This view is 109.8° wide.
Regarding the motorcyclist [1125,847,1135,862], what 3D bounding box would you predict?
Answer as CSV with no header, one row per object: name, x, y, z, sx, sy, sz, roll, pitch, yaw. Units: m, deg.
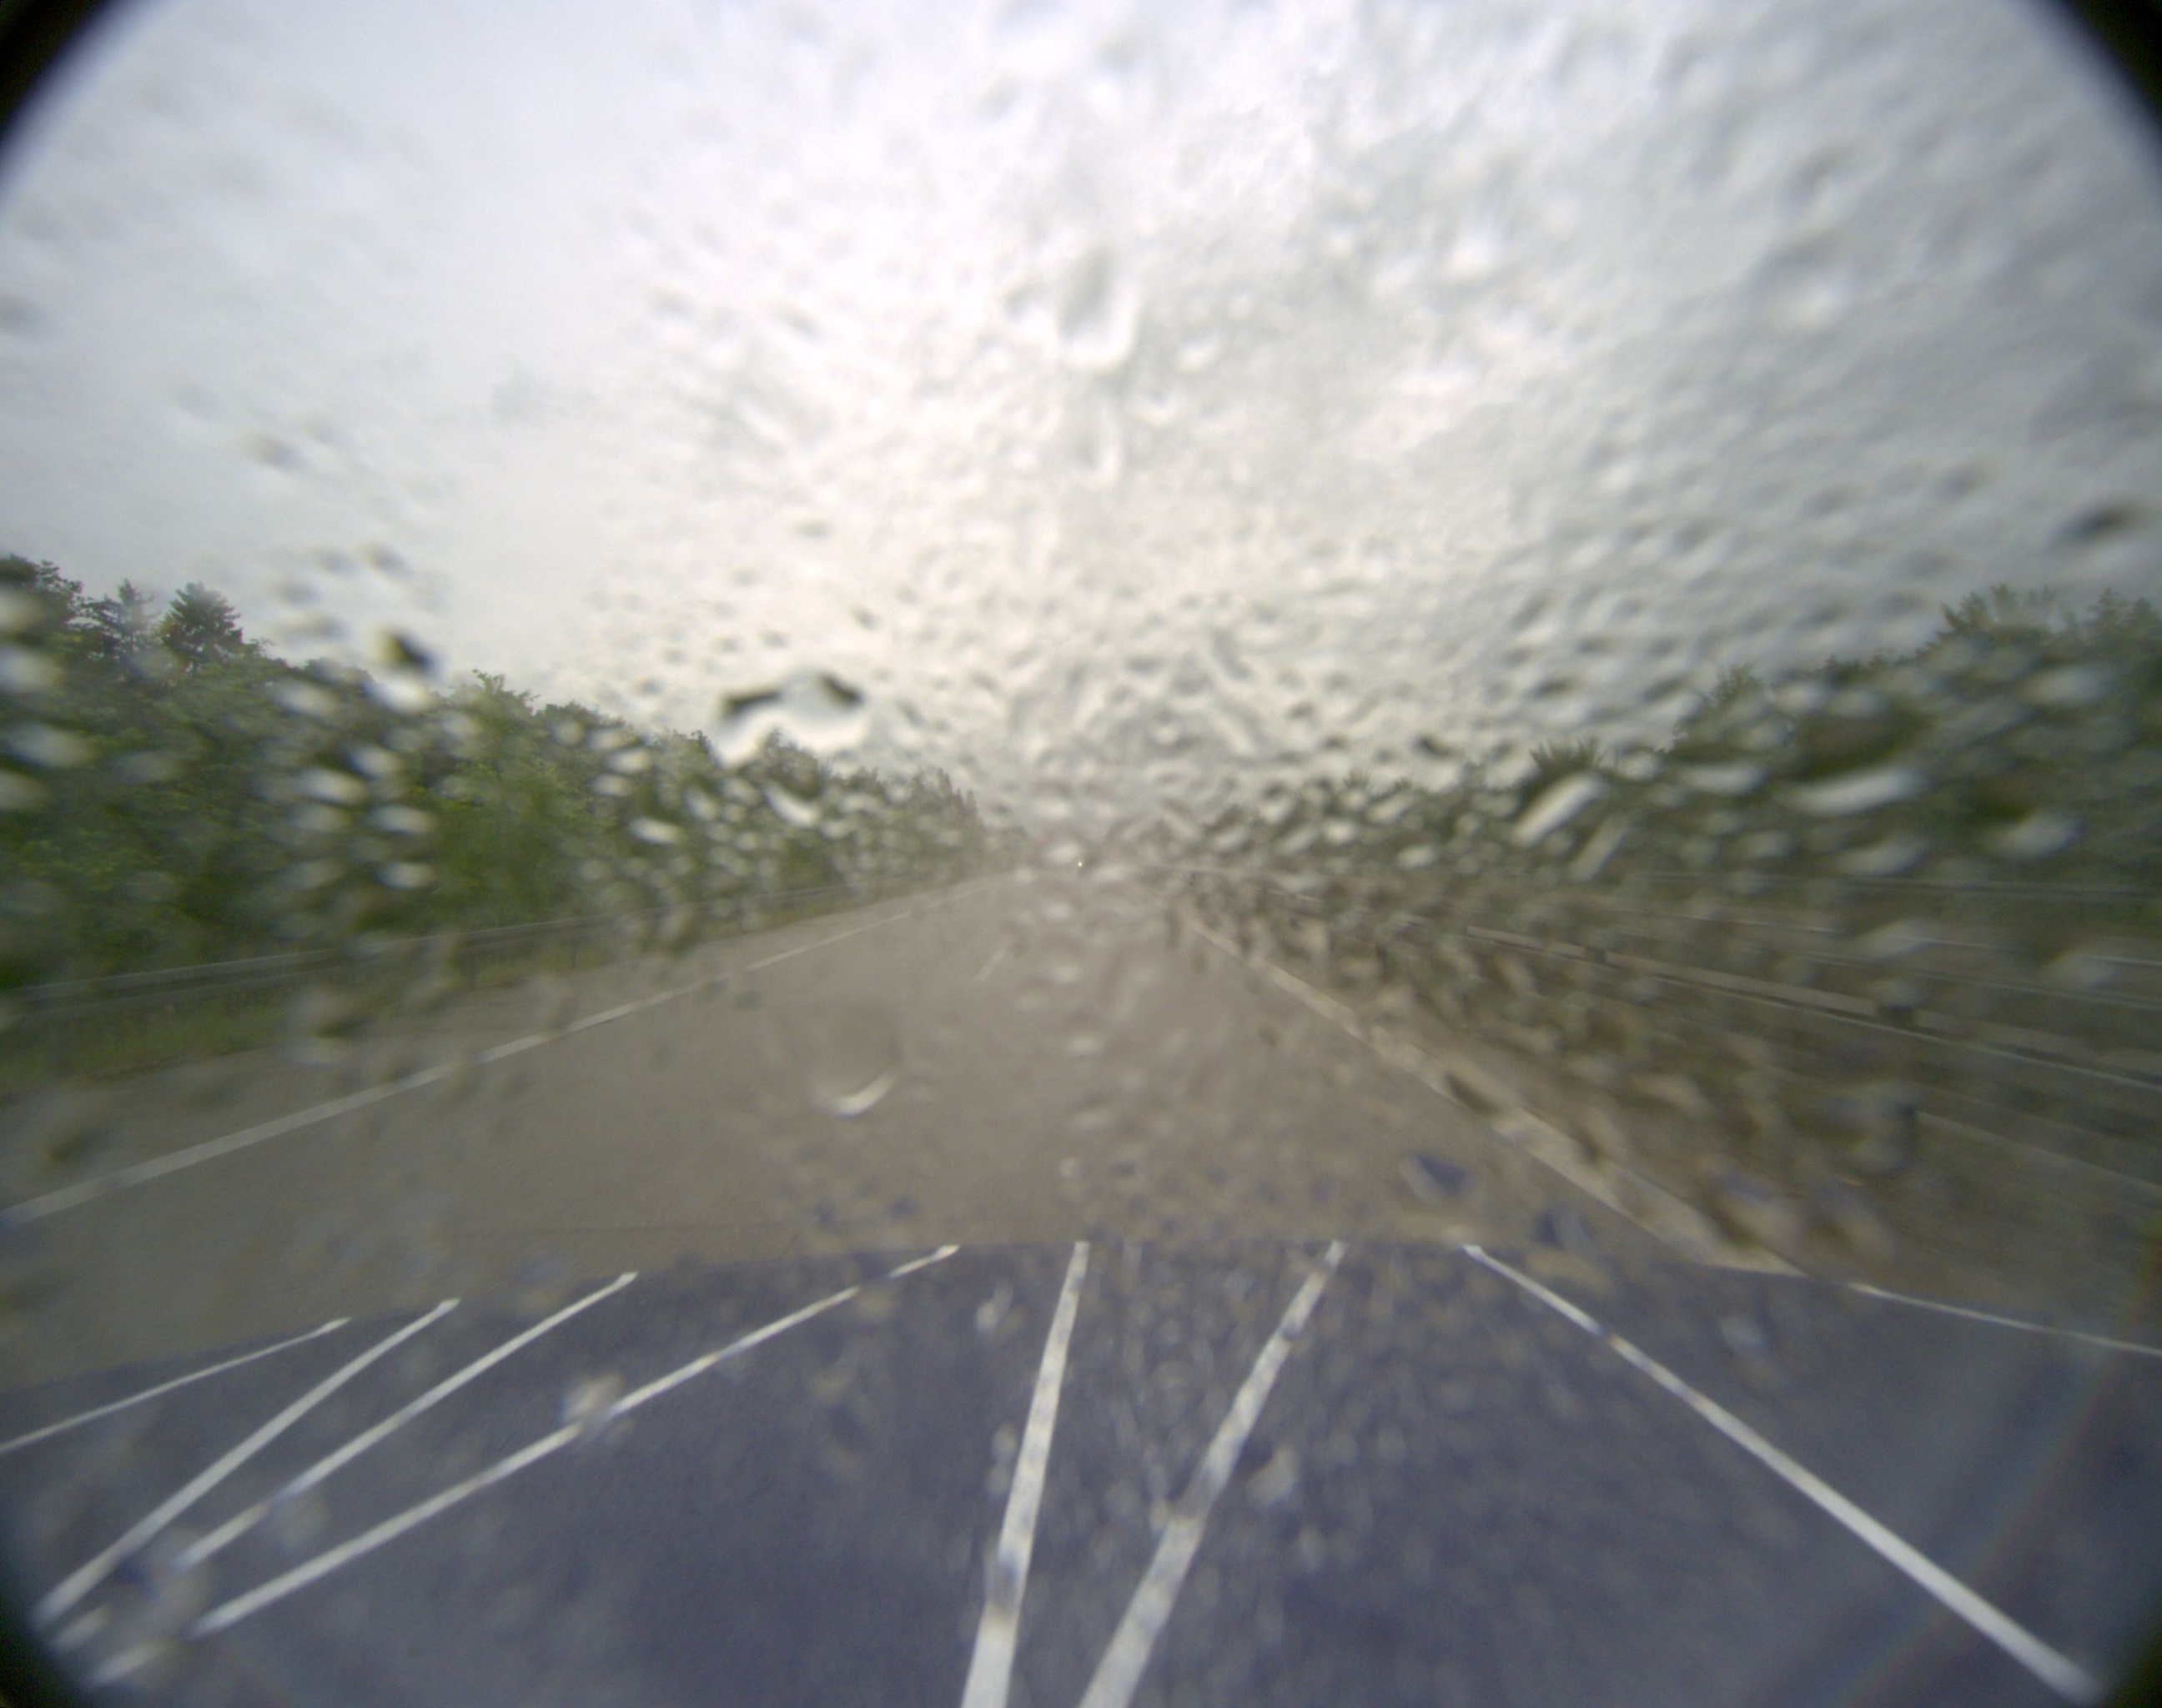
motorcyclist,7.569,0.096,117.824,1.265,2.216,1.697,-3,1,-3

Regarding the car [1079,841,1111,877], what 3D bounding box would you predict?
car,0.850,0.353,47.838,1.795,2.113,4.524,1,-1,-1

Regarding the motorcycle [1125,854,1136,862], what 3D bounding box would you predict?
motorcycle,7.602,0.621,117.691,1.269,1.136,2.961,-3,0,-3

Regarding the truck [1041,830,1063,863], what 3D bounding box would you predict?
truck,-3.778,-0.907,99.681,2.766,4.063,5.437,1,-1,-2
